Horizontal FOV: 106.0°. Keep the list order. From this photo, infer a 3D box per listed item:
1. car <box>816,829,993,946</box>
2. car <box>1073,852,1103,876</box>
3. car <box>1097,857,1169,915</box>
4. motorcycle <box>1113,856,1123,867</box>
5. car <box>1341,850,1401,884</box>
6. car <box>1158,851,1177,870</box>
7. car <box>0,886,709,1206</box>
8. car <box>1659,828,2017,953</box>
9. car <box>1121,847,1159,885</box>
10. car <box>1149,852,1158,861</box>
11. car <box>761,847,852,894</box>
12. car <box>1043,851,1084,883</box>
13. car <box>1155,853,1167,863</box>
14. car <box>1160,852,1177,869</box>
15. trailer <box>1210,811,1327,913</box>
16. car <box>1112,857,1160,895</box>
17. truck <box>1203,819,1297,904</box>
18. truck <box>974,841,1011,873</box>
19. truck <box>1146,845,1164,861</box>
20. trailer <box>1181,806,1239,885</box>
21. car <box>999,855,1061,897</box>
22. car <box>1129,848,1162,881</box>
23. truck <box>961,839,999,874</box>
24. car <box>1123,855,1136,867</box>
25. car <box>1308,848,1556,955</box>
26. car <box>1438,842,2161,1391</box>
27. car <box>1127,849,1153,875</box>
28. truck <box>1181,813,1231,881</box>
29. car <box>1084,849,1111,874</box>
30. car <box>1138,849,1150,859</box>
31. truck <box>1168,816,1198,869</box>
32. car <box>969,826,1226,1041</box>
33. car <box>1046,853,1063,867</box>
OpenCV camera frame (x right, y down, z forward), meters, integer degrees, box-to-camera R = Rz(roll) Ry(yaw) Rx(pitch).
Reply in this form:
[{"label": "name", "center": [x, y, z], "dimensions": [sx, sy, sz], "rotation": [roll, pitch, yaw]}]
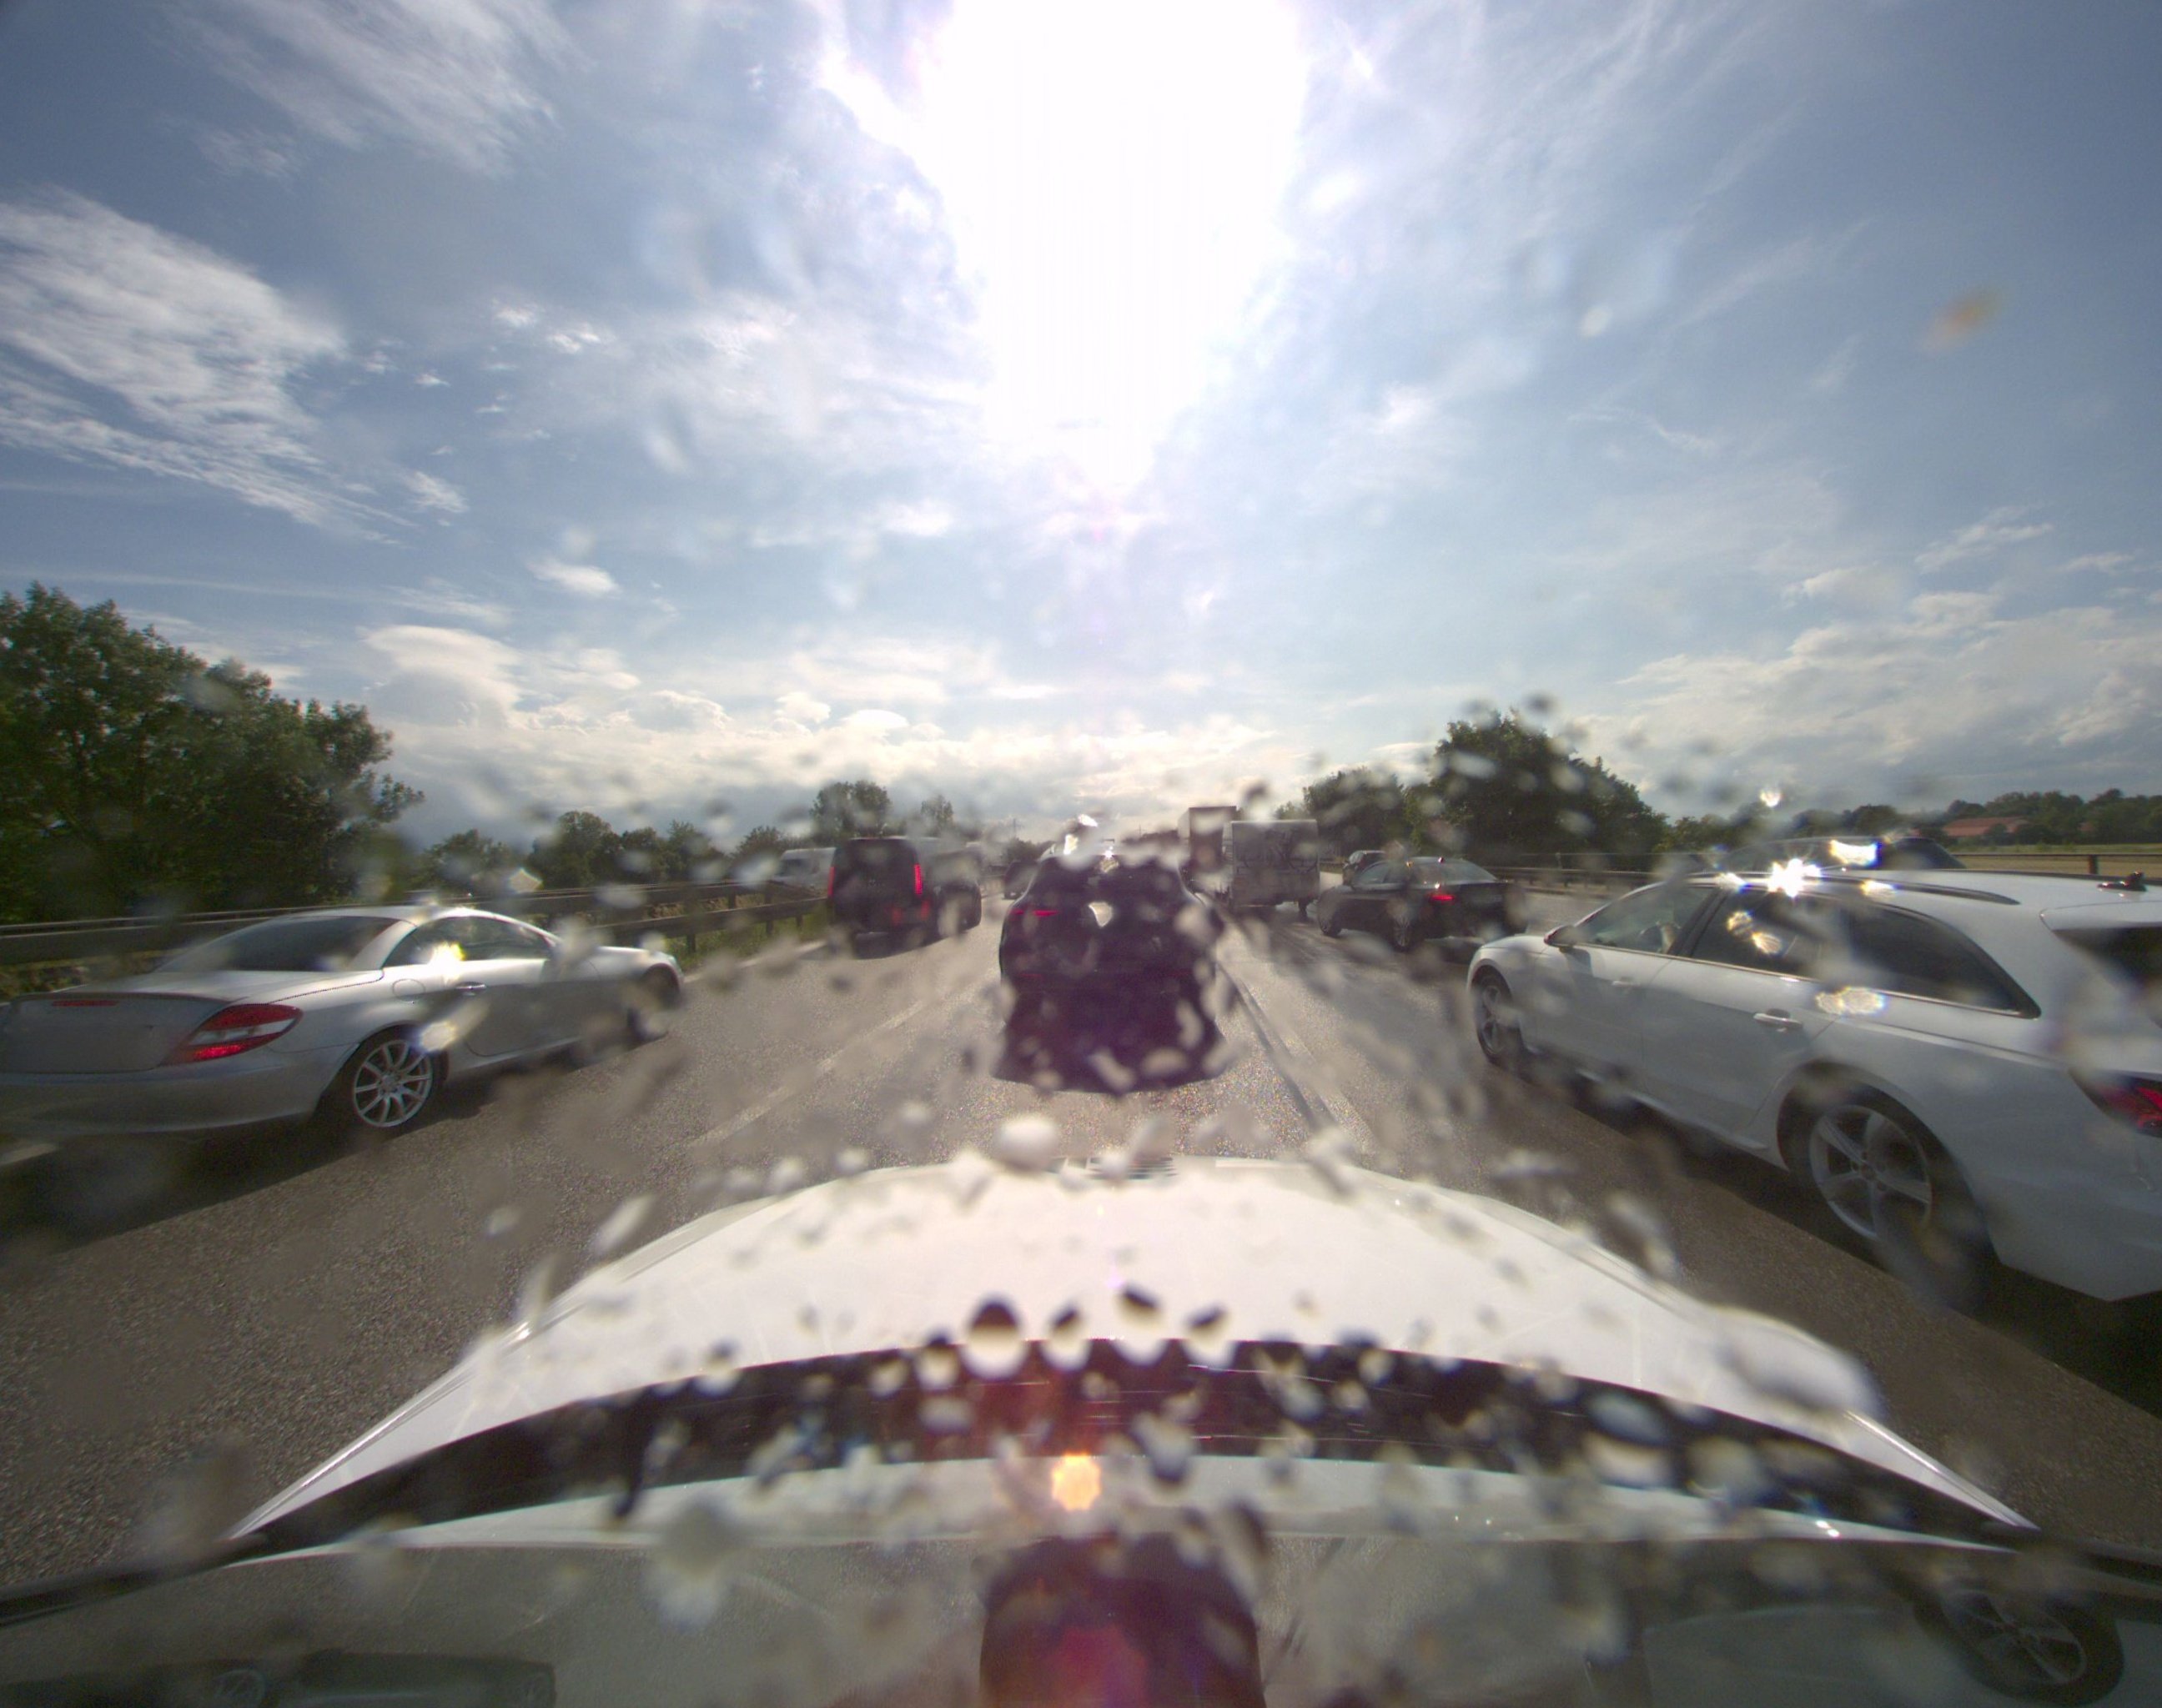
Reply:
[{"label": "car", "center": [-3.374, 0.589, 16.868], "dimensions": [1.983, 2.013, 5.278], "rotation": [-1, 0, 6]}, {"label": "car", "center": [0.608, 0.763, 63.659], "dimensions": [1.984, 1.772, 4.006], "rotation": [0, 0, 6]}, {"label": "car", "center": [1.488, 0.805, 22.125], "dimensions": [1.748, 1.387, 3.951], "rotation": [-1, 0, 6]}, {"label": "motorcycle", "center": [4.472, 0.933, 98.594], "dimensions": [1.068, 1.271, 2.694], "rotation": [-1, 0, 5]}, {"label": "car", "center": [14.181, 0.619, 40.030], "dimensions": [1.840, 1.568, 4.005], "rotation": [0, 0, 5]}, {"label": "car", "center": [9.376, 0.692, 88.267], "dimensions": [1.984, 2.013, 4.006], "rotation": [0, 0, 6]}, {"label": "car", "center": [-4.561, 0.955, 5.731], "dimensions": [1.716, 1.278, 4.069], "rotation": [-1, 0, 5]}, {"label": "car", "center": [11.390, 0.484, 12.781], "dimensions": [1.812, 1.620, 4.369], "rotation": [-1, 0, 5]}, {"label": "car", "center": [3.327, 0.629, 45.598], "dimensions": [1.984, 2.014, 4.006], "rotation": [0, 0, 6]}, {"label": "car", "center": [16.162, 0.558, 181.085], "dimensions": [1.869, 1.760, 4.002], "rotation": [0, 0, 2]}, {"label": "car", "center": [-12.902, 0.744, 38.695], "dimensions": [1.984, 2.013, 5.565], "rotation": [-2, 0, 4]}, {"label": "car", "center": [-0.933, 0.711, 46.495], "dimensions": [1.985, 1.720, 4.004], "rotation": [0, 0, 4]}, {"label": "car", "center": [13.897, 0.749, 141.378], "dimensions": [1.869, 1.760, 4.002], "rotation": [0, 0, 2]}, {"label": "car", "center": [10.755, 0.767, 100.498], "dimensions": [1.984, 2.013, 4.006], "rotation": [2, 0, 6]}, {"label": "trailer", "center": [5.100, 0.225, 23.187], "dimensions": [2.363, 2.483, 6.531], "rotation": [0, 0, 5]}, {"label": "car", "center": [2.251, 0.828, 32.614], "dimensions": [1.797, 1.407, 4.006], "rotation": [0, 0, 5]}, {"label": "truck", "center": [5.420, 0.238, 26.927], "dimensions": [2.363, 2.477, 5.763], "rotation": [0, 0, 5]}, {"label": "truck", "center": [-11.146, 0.460, 103.487], "dimensions": [2.835, 3.853, 9.434], "rotation": [-1, -1, 5]}, {"label": "truck", "center": [18.704, -0.212, 206.887], "dimensions": [3.829, 4.017, 11.223], "rotation": [0, 0, 1]}, {"label": "trailer", "center": [7.378, -0.440, 47.562], "dimensions": [2.991, 4.166, 8.553], "rotation": [-1, 0, 7]}, {"label": "car", "center": [-1.927, 0.817, 32.087], "dimensions": [1.748, 1.516, 4.216], "rotation": [-1, 0, 6]}, {"label": "car", "center": [4.353, 0.678, 54.579], "dimensions": [1.984, 2.013, 4.006], "rotation": [2, 0, 6]}, {"label": "truck", "center": [-11.772, 0.358, 95.853], "dimensions": [2.848, 3.821, 7.887], "rotation": [-1, -1, 5]}, {"label": "car", "center": [8.215, 1.188, 138.761], "dimensions": [1.985, 2.013, 4.003], "rotation": [2, 0, 3]}, {"label": "car", "center": [5.626, 0.693, 13.734], "dimensions": [1.848, 1.464, 4.242], "rotation": [-2, -1, -9]}, {"label": "car", "center": [3.738, 0.708, 4.239], "dimensions": [1.820, 1.425, 4.511], "rotation": [-1, -1, 1]}, {"label": "car", "center": [4.820, 0.640, 66.077], "dimensions": [1.984, 2.013, 4.006], "rotation": [-1, 0, 6]}, {"label": "truck", "center": [8.075, -0.431, 53.130], "dimensions": [2.979, 4.166, 5.250], "rotation": [-1, 0, 7]}, {"label": "car", "center": [1.470, 0.636, 70.430], "dimensions": [1.984, 2.013, 4.006], "rotation": [2, 0, 6]}, {"label": "car", "center": [11.357, -0.044, 147.157], "dimensions": [1.869, 1.760, 4.002], "rotation": [0, 0, 2]}, {"label": "truck", "center": [9.821, -1.059, 79.070], "dimensions": [2.491, 4.830, 7.551], "rotation": [0, 0, 4]}, {"label": "car", "center": [0.307, 0.643, 8.586], "dimensions": [1.984, 1.661, 4.412], "rotation": [-1, 0, 5]}, {"label": "car", "center": [-4.350, 0.966, 132.841], "dimensions": [1.984, 2.208, 6.989], "rotation": [-1, 0, 5]}]
